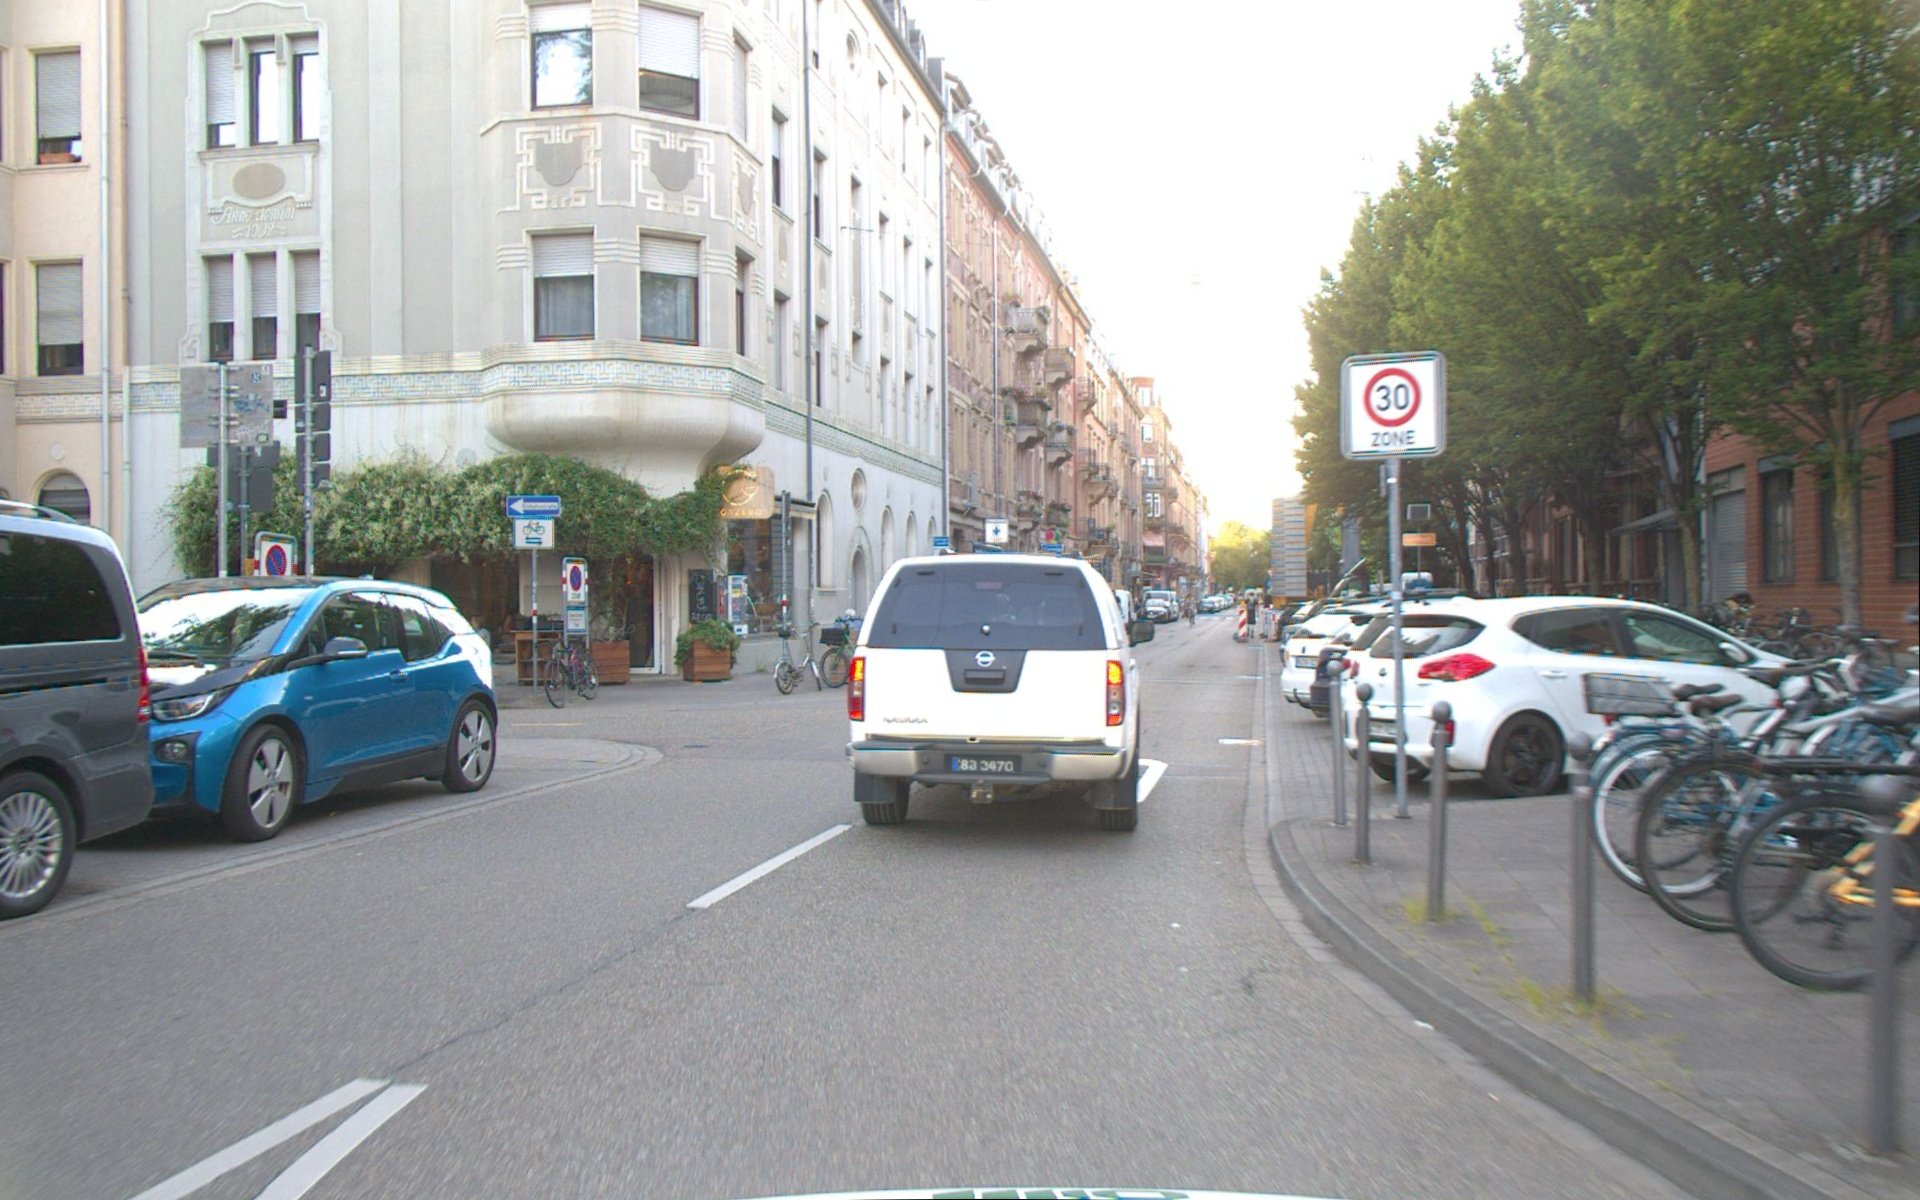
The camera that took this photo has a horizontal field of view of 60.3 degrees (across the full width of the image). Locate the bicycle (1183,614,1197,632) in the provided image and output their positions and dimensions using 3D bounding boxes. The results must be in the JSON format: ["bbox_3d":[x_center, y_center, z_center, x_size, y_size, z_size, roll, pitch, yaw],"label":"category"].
[{"bbox_3d":[12.704,1.248,91.320,0.783,0.963,2.006,0,0,8],"label":"bicycle"}]

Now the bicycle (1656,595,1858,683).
[{"bbox_3d":[11.151,0.547,23.209,2.480,1.187,0.562,-1,0,13],"label":"bicycle"}]

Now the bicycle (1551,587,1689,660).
[{"bbox_3d":[13.110,0.465,32.917,2.480,1.403,0.600,-1,0,13],"label":"bicycle"}]

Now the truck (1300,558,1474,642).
[{"bbox_3d":[15.841,0.020,61.758,6.185,3.029,2.266,0,-3,12],"label":"truck"}]

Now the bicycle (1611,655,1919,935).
[{"bbox_3d":[3.686,0.776,6.751,1.818,1.056,0.472,-3,-1,9],"label":"bicycle"}]

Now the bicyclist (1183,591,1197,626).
[{"bbox_3d":[12.680,0.463,91.241,0.783,1.882,0.944,0,0,8],"label":"bicyclist"}]

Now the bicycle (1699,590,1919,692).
[{"bbox_3d":[10.619,0.512,20.772,2.296,1.118,0.680,-4,-1,13],"label":"bicycle"}]

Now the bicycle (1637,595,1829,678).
[{"bbox_3d":[11.377,0.533,24.410,2.480,1.187,0.562,-1,0,13],"label":"bicycle"}]

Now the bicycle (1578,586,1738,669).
[{"bbox_3d":[12.102,0.479,28.735,2.480,1.403,0.600,-1,0,13],"label":"bicycle"}]

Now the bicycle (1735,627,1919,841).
[{"bbox_3d":[5.257,0.691,8.876,1.870,1.084,0.524,-3,-1,9],"label":"bicycle"}]

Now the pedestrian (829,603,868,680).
[{"bbox_3d":[-1.965,0.720,29.292,0.525,1.348,0.705,0,0,11],"label":"pedestrian"}]

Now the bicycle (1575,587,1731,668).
[{"bbox_3d":[12.314,0.499,29.443,2.480,1.403,0.600,-1,0,13],"label":"bicycle"}]

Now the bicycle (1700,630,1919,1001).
[{"bbox_3d":[3.493,0.699,5.621,1.671,1.196,0.472,-3,-1,9],"label":"bicycle"}]

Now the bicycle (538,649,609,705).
[{"bbox_3d":[-5.780,1.140,24.797,0.414,0.708,1.781,-1,2,8],"label":"bicycle"}]

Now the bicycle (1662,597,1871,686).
[{"bbox_3d":[10.997,0.570,22.622,2.480,1.187,0.562,-1,0,13],"label":"bicycle"}]

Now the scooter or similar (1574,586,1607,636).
[{"bbox_3d":[16.382,0.276,42.979,0.362,1.239,1.698,-4,-2,34],"label":"scooter or similar"}]

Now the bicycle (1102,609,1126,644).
[{"bbox_3d":[4.870,0.826,52.260,0.601,1.058,1.905,-1,0,10],"label":"bicycle"}]

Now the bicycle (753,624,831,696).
[{"bbox_3d":[-2.608,0.917,25.827,0.415,1.030,1.718,0,1,24],"label":"bicycle"}]

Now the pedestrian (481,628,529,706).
[{"bbox_3d":[-7.392,1.089,26.896,0.519,1.235,0.607,-1,0,11],"label":"pedestrian"}]

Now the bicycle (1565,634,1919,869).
[{"bbox_3d":[4.056,0.751,8.305,1.818,1.084,0.446,-3,-1,9],"label":"bicycle"}]

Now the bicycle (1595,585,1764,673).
[{"bbox_3d":[11.884,0.483,27.375,2.480,1.403,0.600,-1,0,13],"label":"bicycle"}]

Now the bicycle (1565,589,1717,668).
[{"bbox_3d":[12.397,0.516,30.193,2.480,1.403,0.600,-1,0,13],"label":"bicycle"}]

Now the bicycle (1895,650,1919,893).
[{"bbox_3d":[5.073,0.713,7.055,1.818,1.056,0.402,-3,-1,9],"label":"bicycle"}]

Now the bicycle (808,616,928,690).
[{"bbox_3d":[-1.494,0.832,26.664,2.074,1.114,0.499,0,1,36],"label":"bicycle"}]

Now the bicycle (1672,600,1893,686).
[{"bbox_3d":[10.878,0.569,21.953,2.480,0.976,0.680,-4,-1,13],"label":"bicycle"}]

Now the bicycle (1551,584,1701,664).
[{"bbox_3d":[12.697,0.459,31.611,2.481,1.266,0.600,-6,-2,13],"label":"bicycle"}]

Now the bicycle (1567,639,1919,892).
[{"bbox_3d":[3.840,0.758,7.690,1.818,1.084,0.446,-3,-1,9],"label":"bicycle"}]

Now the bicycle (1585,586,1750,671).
[{"bbox_3d":[11.986,0.483,28.084,2.480,1.403,0.600,-1,0,13],"label":"bicycle"}]

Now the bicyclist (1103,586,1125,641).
[{"bbox_3d":[4.867,0.426,52.268,0.590,1.714,1.143,-1,0,11],"label":"bicyclist"}]

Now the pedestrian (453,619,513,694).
[{"bbox_3d":[-8.052,0.943,27.929,0.676,1.235,0.779,-1,0,11],"label":"pedestrian"}]

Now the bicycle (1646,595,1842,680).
[{"bbox_3d":[11.255,0.538,23.811,2.480,1.187,0.562,-1,0,13],"label":"bicycle"}]
